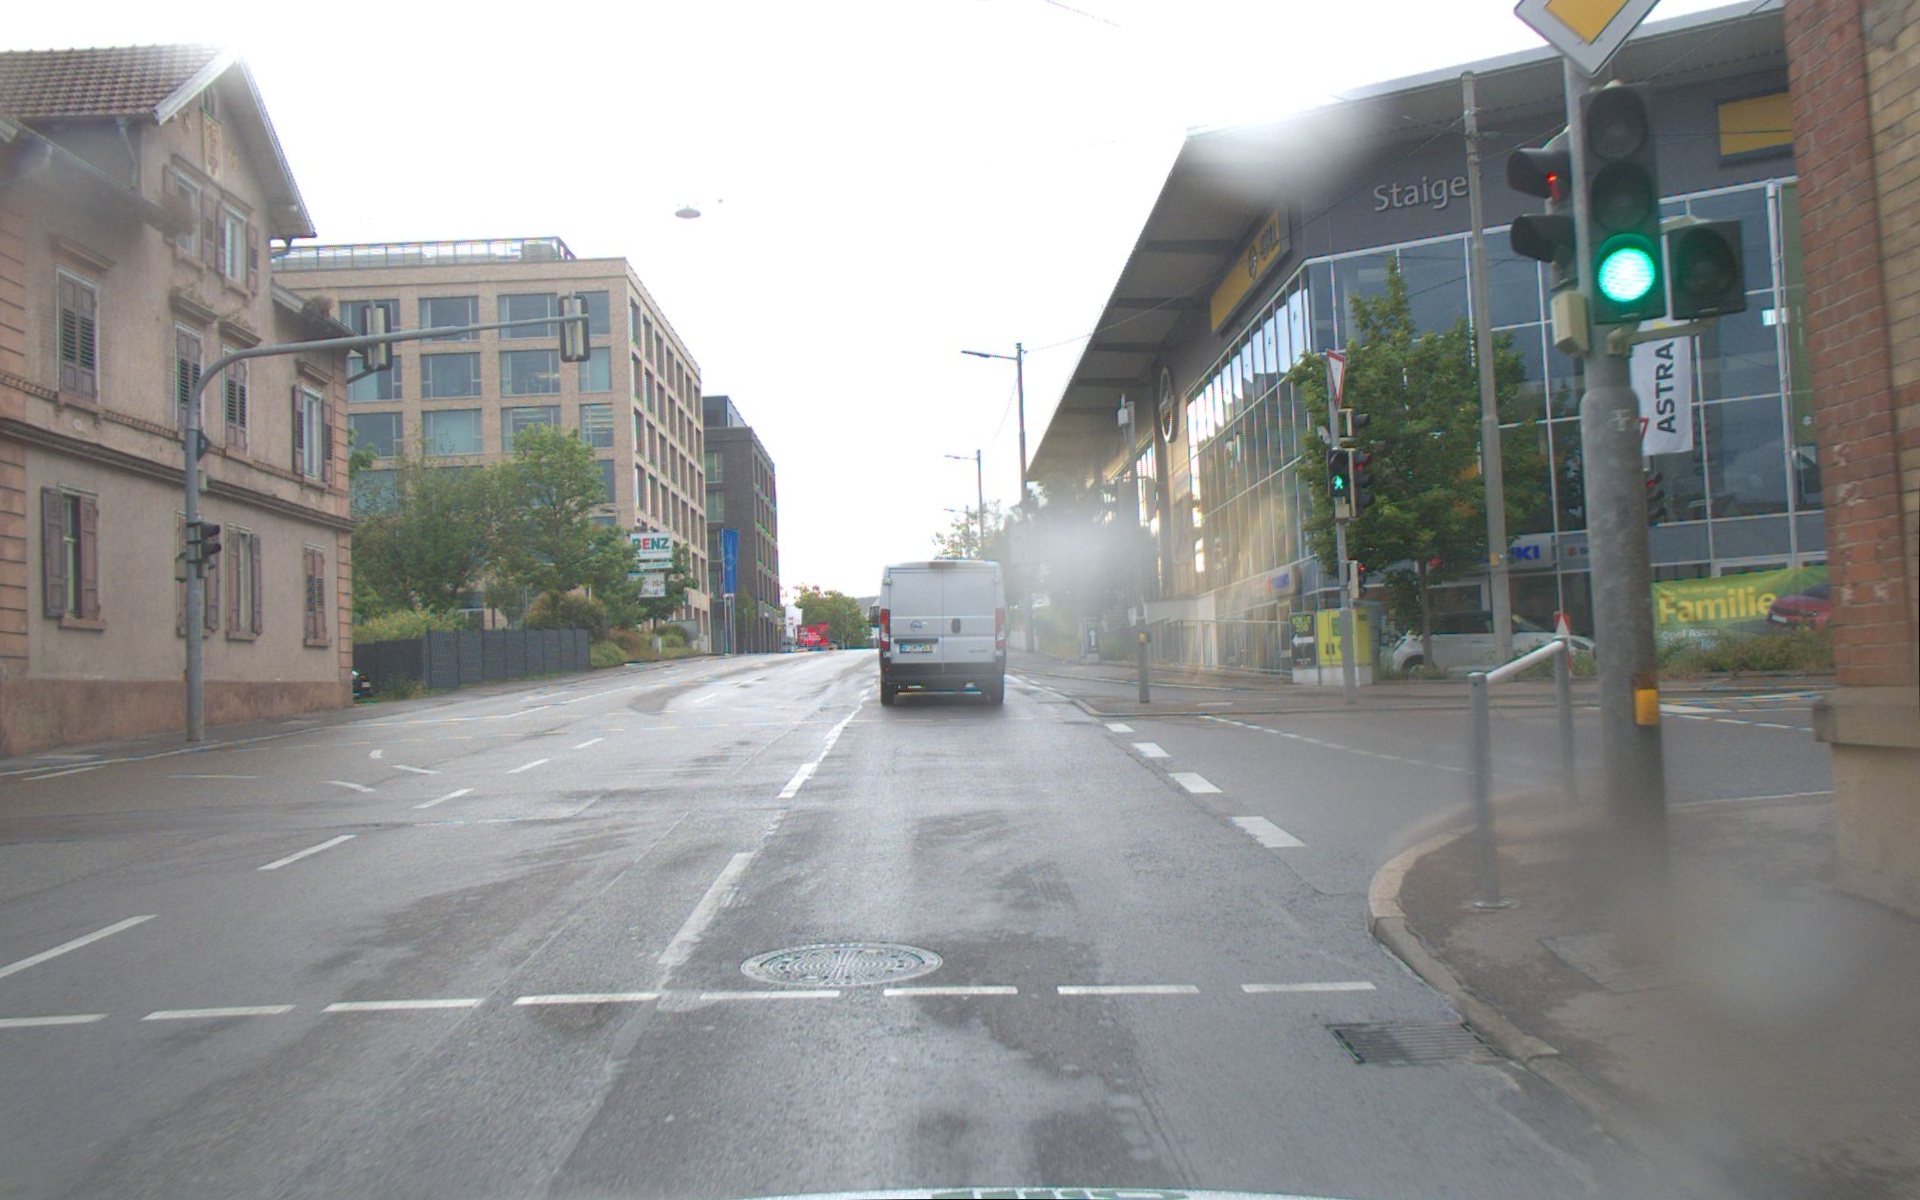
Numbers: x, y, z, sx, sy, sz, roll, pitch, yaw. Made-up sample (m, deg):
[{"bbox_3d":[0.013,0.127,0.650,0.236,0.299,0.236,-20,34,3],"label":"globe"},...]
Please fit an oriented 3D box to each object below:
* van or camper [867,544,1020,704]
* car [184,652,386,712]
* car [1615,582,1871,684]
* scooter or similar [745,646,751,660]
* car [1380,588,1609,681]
[{"bbox_3d":[-0.283,0.429,28.003,2.292,2.398,5.198,-2,-1,-1],"label":"van or camper"},{"bbox_3d":[-15.272,1.841,37.570,3.910,1.183,1.605,-2,-1,-6],"label":"car"},{"bbox_3d":[14.027,0.627,29.668,3.914,1.557,1.821,-5,-4,31],"label":"car"},{"bbox_3d":[-18.272,4.570,142.343,0.344,1.090,1.428,-2,-3,-1],"label":"scooter or similar"},{"bbox_3d":[10.284,0.713,31.816,3.909,1.535,1.896,-4,-5,26],"label":"car"}]
